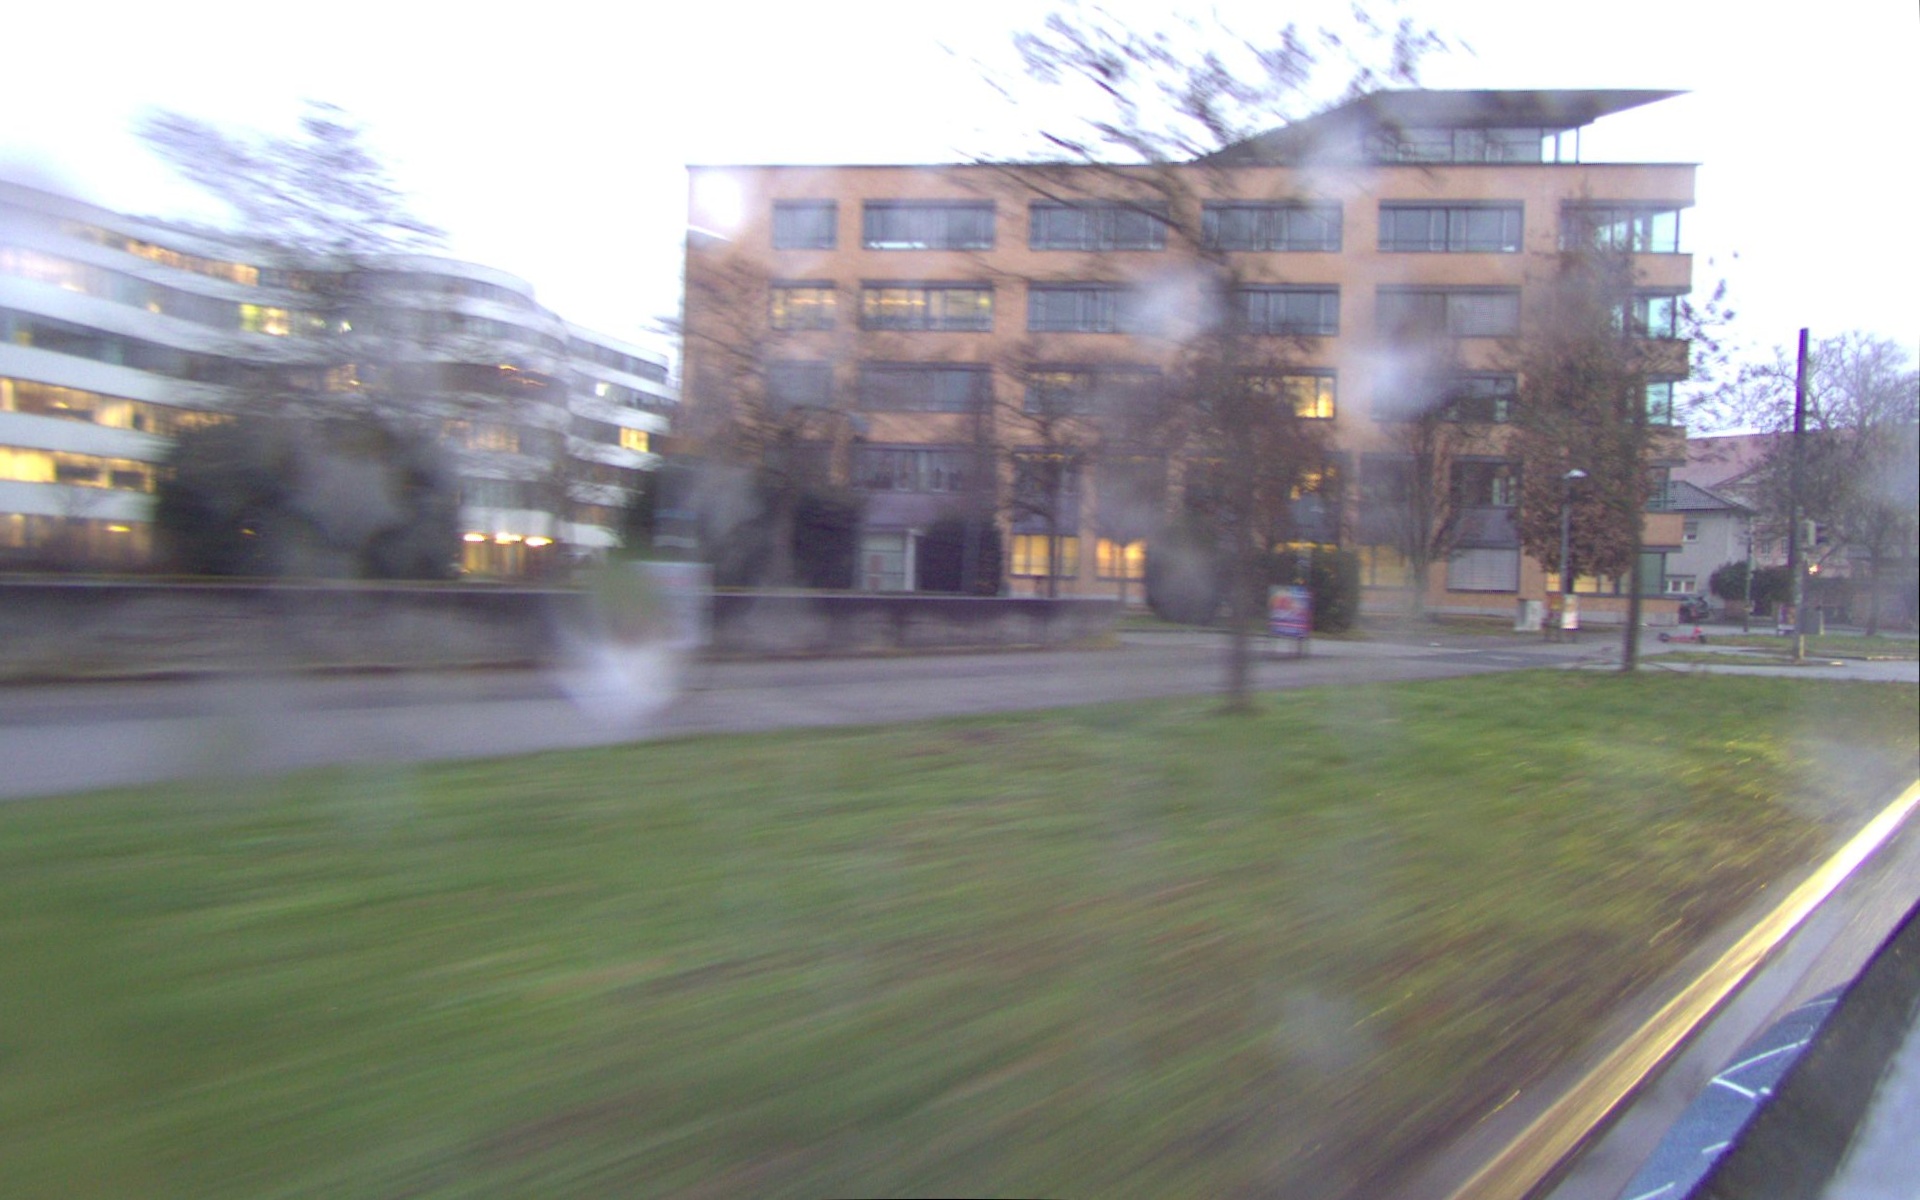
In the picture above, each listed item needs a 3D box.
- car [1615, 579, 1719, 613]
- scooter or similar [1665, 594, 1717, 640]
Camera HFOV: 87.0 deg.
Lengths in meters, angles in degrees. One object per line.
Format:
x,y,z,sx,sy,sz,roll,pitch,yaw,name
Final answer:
40.116,-0.254,57.476,1.967,1.690,4.503,1,2,-43,car
21.042,0.479,29.147,1.137,1.247,0.482,3,1,34,scooter or similar
